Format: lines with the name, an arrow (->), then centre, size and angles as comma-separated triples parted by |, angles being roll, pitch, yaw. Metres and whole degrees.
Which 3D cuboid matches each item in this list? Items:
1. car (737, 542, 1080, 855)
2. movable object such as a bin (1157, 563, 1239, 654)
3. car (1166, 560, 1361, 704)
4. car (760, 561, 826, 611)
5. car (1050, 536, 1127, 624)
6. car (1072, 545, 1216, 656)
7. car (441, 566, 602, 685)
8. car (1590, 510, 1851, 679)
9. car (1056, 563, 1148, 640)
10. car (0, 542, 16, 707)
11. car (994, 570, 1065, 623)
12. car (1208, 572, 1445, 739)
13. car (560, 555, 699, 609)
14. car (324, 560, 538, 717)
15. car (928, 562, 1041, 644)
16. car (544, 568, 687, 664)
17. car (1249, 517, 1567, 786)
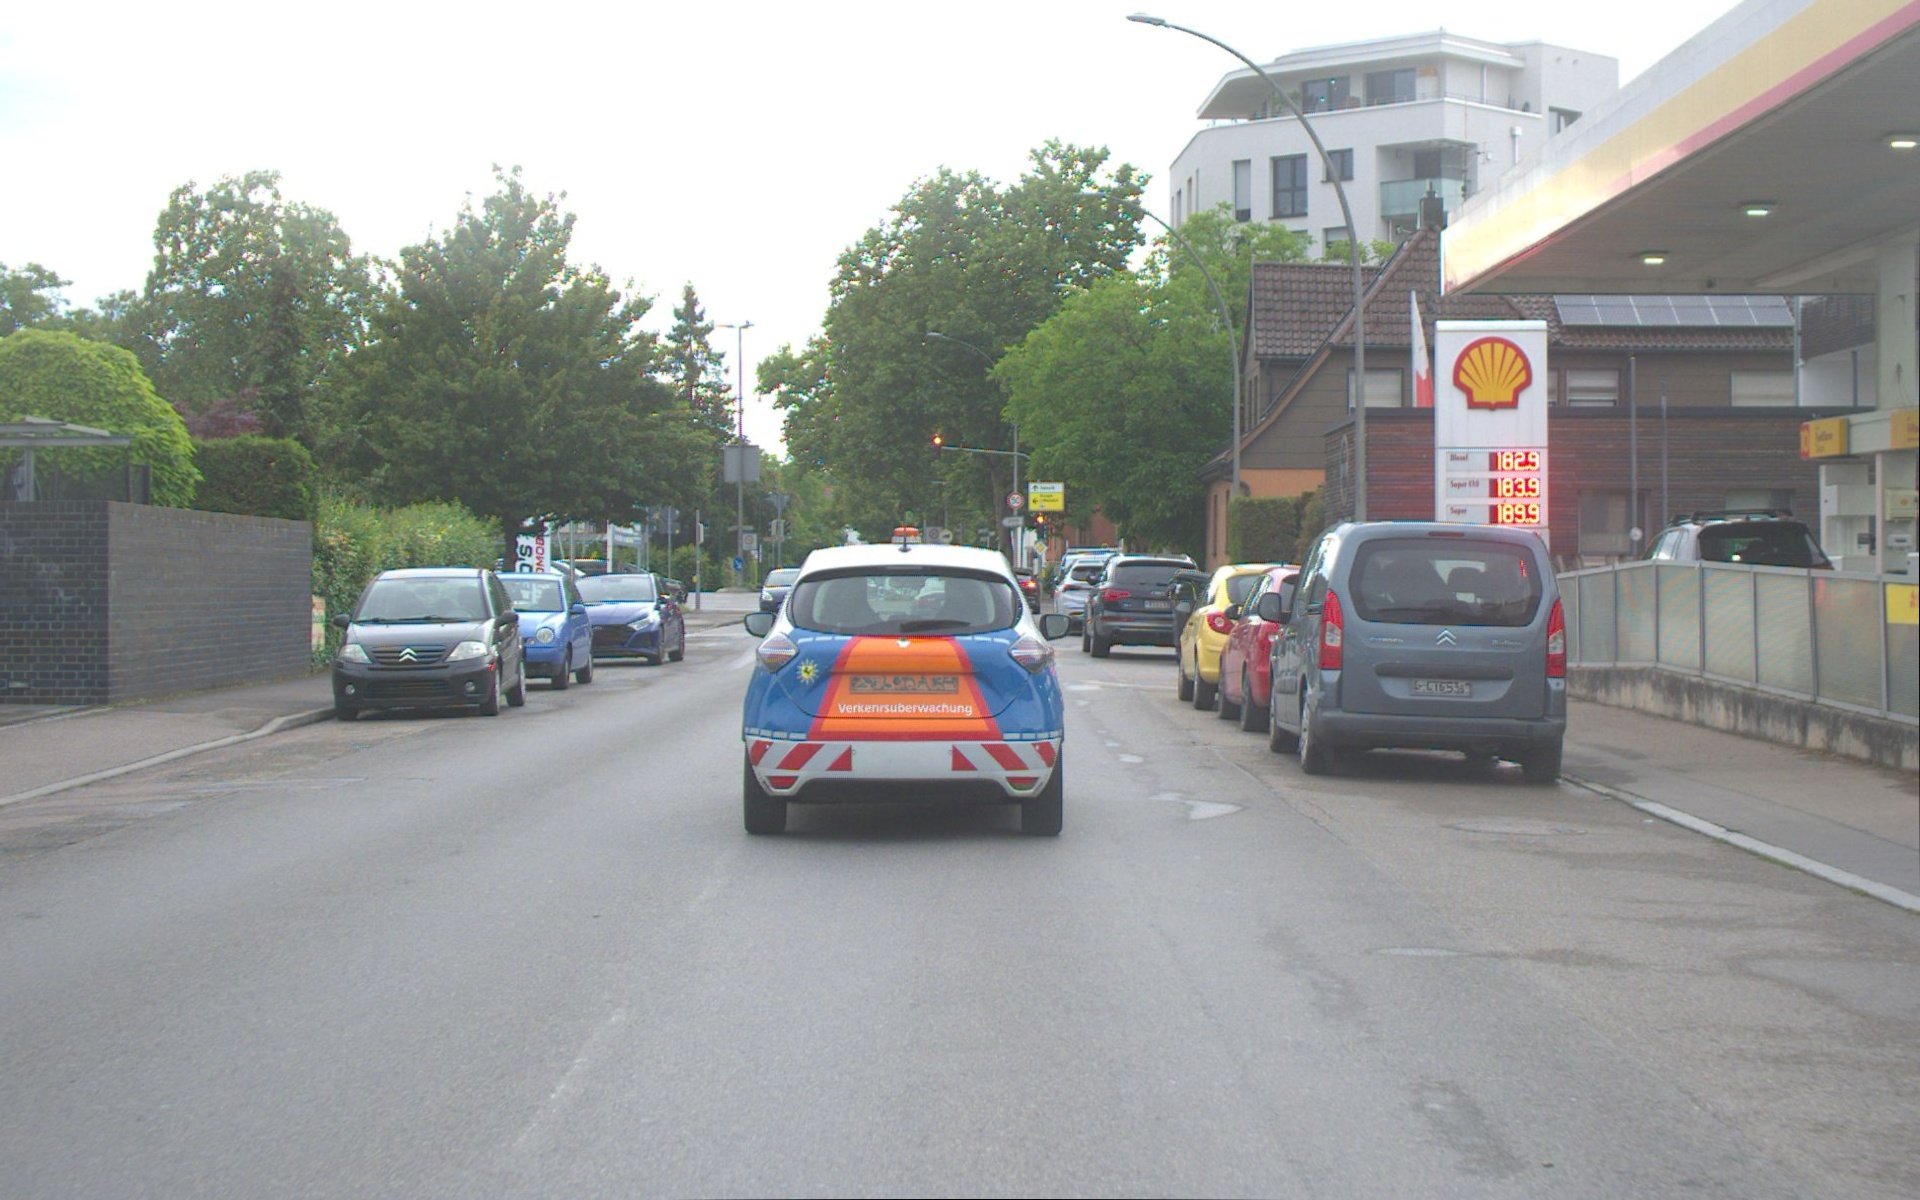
car -> -0.266, 0.472, 19.652 | 1.746, 1.575, 4.000 | 0, 1, 0
movable object such as a bin -> 3.703, 0.117, 53.537 | 1.126, 1.384, 1.504 | 0, 1, -2
car -> 3.094, 0.291, 35.636 | 1.656, 1.397, 3.802 | 0, 1, 0
car -> -4.844, -0.407, 100.278 | 1.626, 1.428, 3.683 | 0, 1, 2
car -> 3.166, -0.521, 84.040 | 1.778, 2.022, 4.753 | 1, 2, 3
car -> 2.993, -0.025, 56.937 | 2.091, 1.656, 4.559 | 1, 2, 0
car -> -5.534, 0.290, 43.687 | 1.546, 1.398, 3.597 | -1, 1, 0
car -> 8.290, -0.090, 37.806 | 1.819, 1.753, 4.001 | 0, 1, -3
car -> 3.194, 0.006, 77.925 | 1.865, 1.659, 4.320 | 1, 1, 0
car -> -10.228, 0.171, 29.902 | 3.584, 1.452, 1.757 | 2, 0, -4
car -> 2.048, -0.125, 102.421 | 1.794, 1.423, 4.001 | 1, 2, -3
car -> 3.219, 0.446, 30.837 | 1.656, 1.372, 4.025 | 0, 1, 0
car -> -10.066, -0.560, 104.940 | 3.987, 1.538, 1.803 | 1, 1, 3
car -> -5.428, 0.354, 35.659 | 1.608, 1.501, 3.707 | -1, 1, 0
car -> 0.545, 0.037, 72.269 | 1.994, 1.568, 3.999 | 1, 2, 6
car -> -5.381, 0.226, 54.075 | 1.807, 1.398, 3.945 | -1, 1, 0
car -> 3.189, 0.318, 25.256 | 1.656, 1.732, 4.445 | 2, 1, 0
